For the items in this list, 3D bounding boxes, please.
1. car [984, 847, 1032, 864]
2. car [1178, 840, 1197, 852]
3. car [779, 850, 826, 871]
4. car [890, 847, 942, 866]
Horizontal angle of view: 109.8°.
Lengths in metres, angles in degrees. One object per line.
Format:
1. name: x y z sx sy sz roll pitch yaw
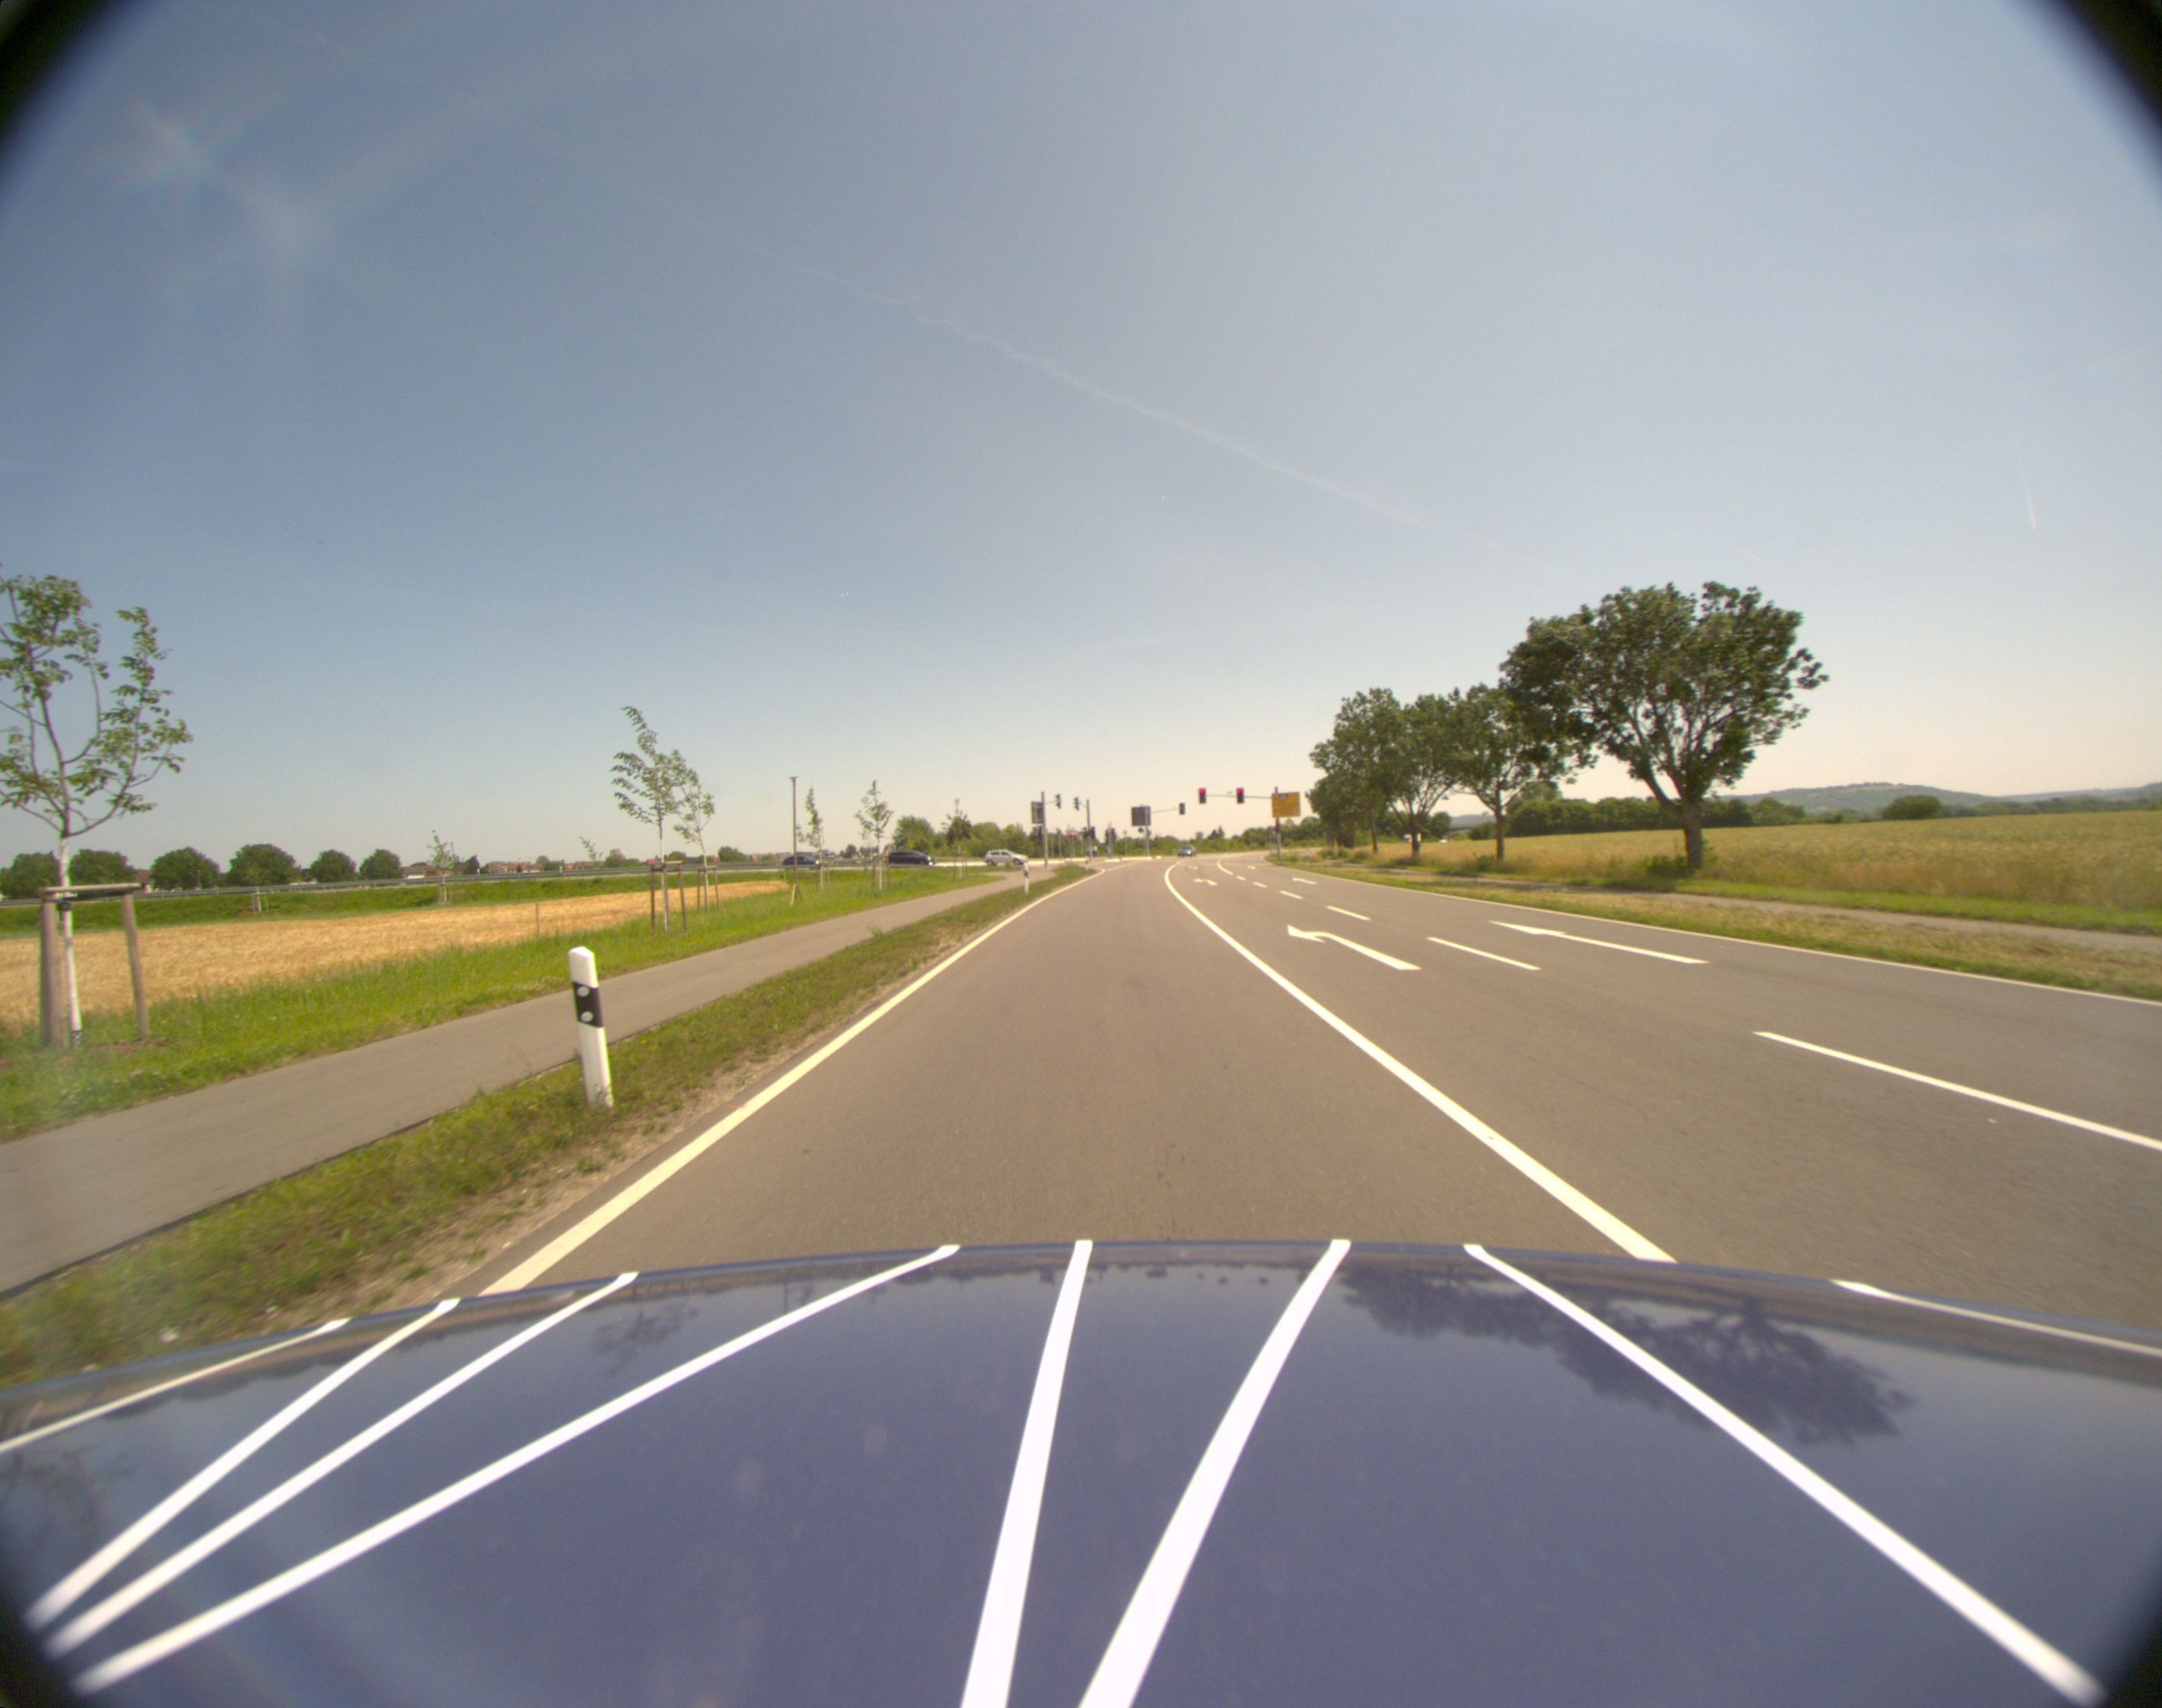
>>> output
1. car: -6.885 0.133 71.577 4.146 1.451 1.662 -2 1 10
2. car: 13.327 -1.012 95.247 1.655 1.557 4.005 -1 1 18
3. car: -27.278 0.655 74.466 3.919 1.798 1.919 -3 1 -7
4. car: -15.875 0.263 73.208 4.520 1.632 1.815 -1 2 10
